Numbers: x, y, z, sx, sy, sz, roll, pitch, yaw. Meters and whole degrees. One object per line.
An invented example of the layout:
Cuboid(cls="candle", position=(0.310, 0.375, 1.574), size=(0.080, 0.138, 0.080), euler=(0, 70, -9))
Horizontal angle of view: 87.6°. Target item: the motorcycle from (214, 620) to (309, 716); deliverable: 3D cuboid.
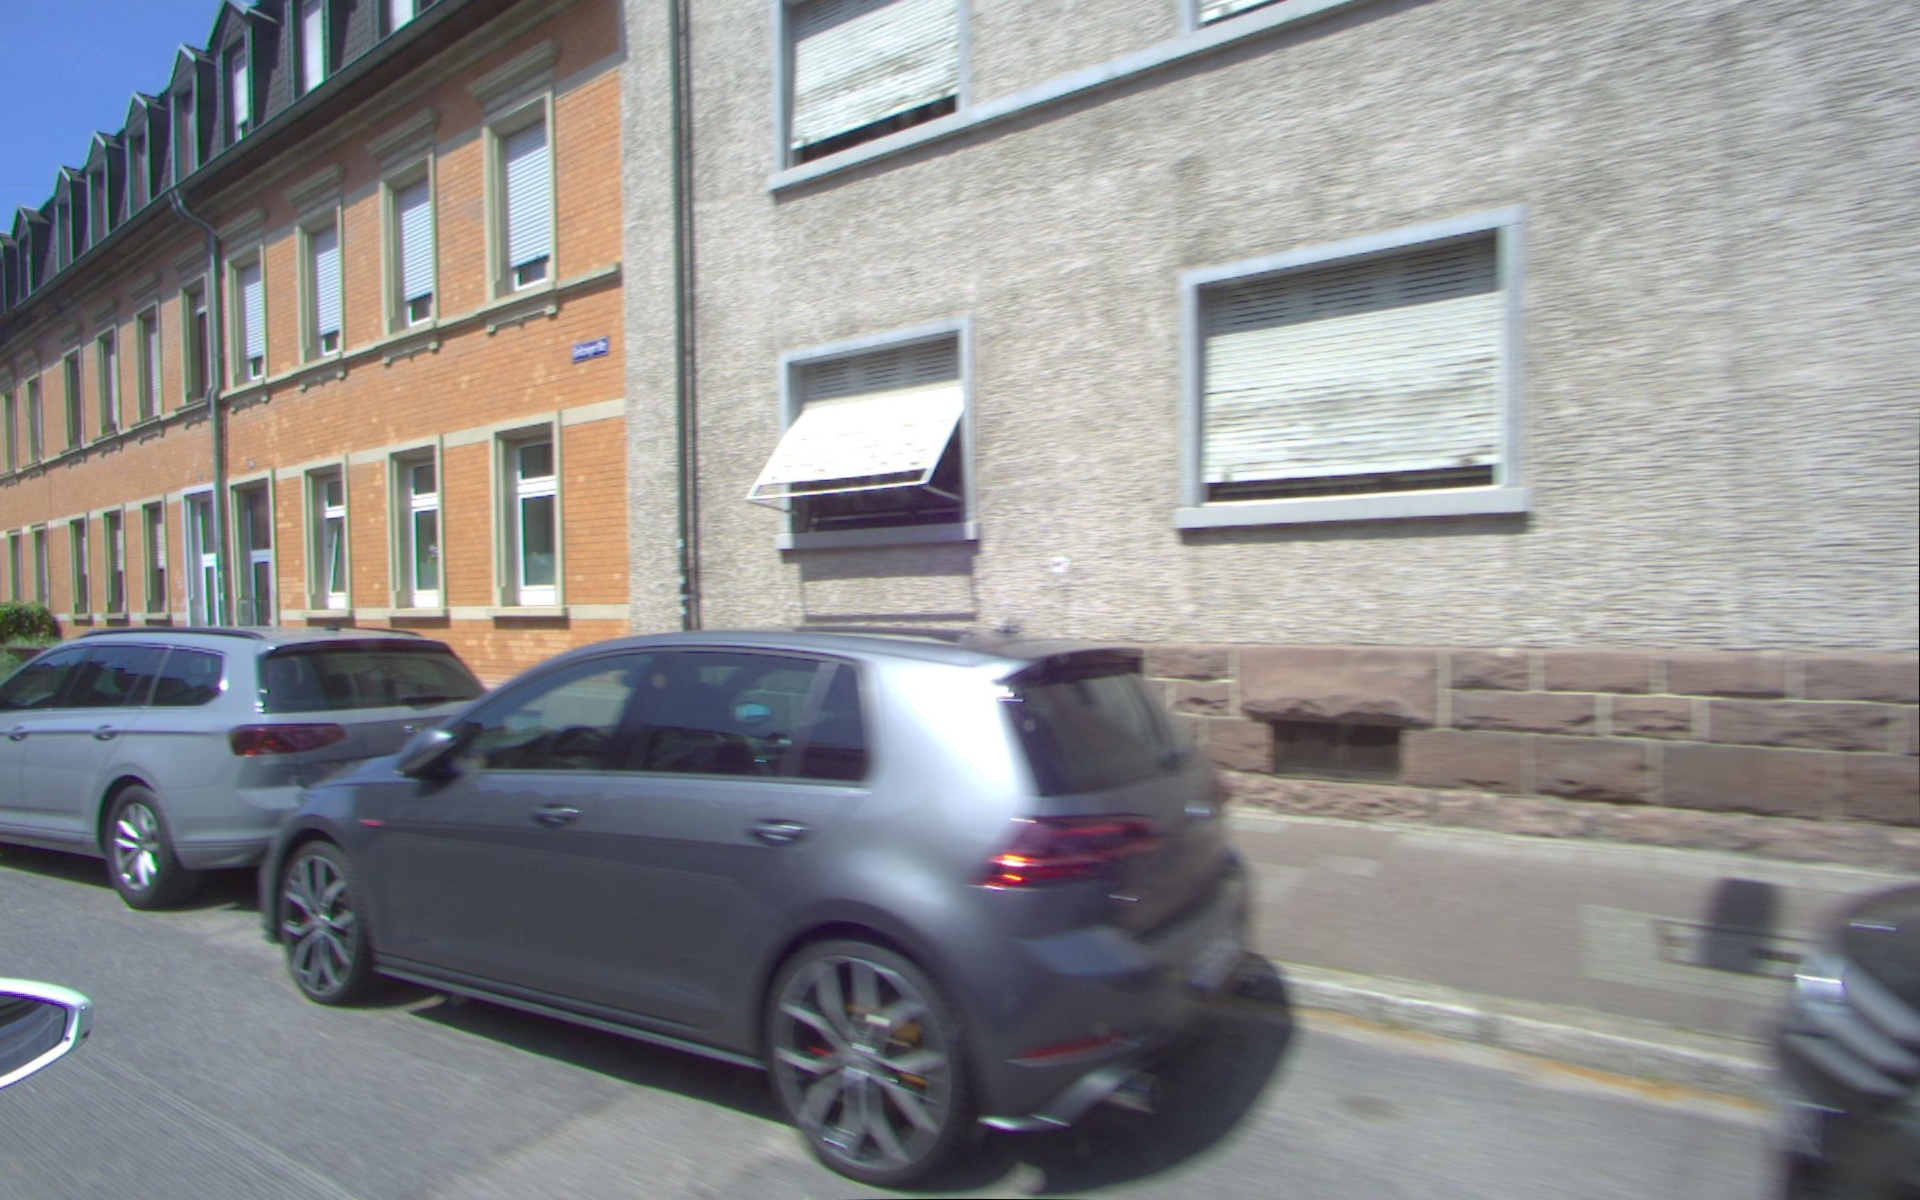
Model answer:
Cuboid(cls="motorcycle", position=(-9.550, 0.905, 13.674), size=(1.343, 1.241, 0.594), euler=(-1, 1, 34))

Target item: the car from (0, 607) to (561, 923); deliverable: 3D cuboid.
Cuboid(cls="car", position=(-4.954, 0.824, 6.556), size=(4.479, 1.482, 1.853), euler=(-1, 0, 27))

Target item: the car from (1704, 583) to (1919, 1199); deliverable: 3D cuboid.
Cuboid(cls="car", position=(3.574, 0.688, 1.040), size=(4.376, 1.493, 1.707), euler=(-1, 1, 33))

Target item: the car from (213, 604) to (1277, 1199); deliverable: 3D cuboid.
Cuboid(cls="car", position=(-0.984, 0.765, 3.910), size=(3.988, 1.439, 1.649), euler=(-1, 0, 30))
